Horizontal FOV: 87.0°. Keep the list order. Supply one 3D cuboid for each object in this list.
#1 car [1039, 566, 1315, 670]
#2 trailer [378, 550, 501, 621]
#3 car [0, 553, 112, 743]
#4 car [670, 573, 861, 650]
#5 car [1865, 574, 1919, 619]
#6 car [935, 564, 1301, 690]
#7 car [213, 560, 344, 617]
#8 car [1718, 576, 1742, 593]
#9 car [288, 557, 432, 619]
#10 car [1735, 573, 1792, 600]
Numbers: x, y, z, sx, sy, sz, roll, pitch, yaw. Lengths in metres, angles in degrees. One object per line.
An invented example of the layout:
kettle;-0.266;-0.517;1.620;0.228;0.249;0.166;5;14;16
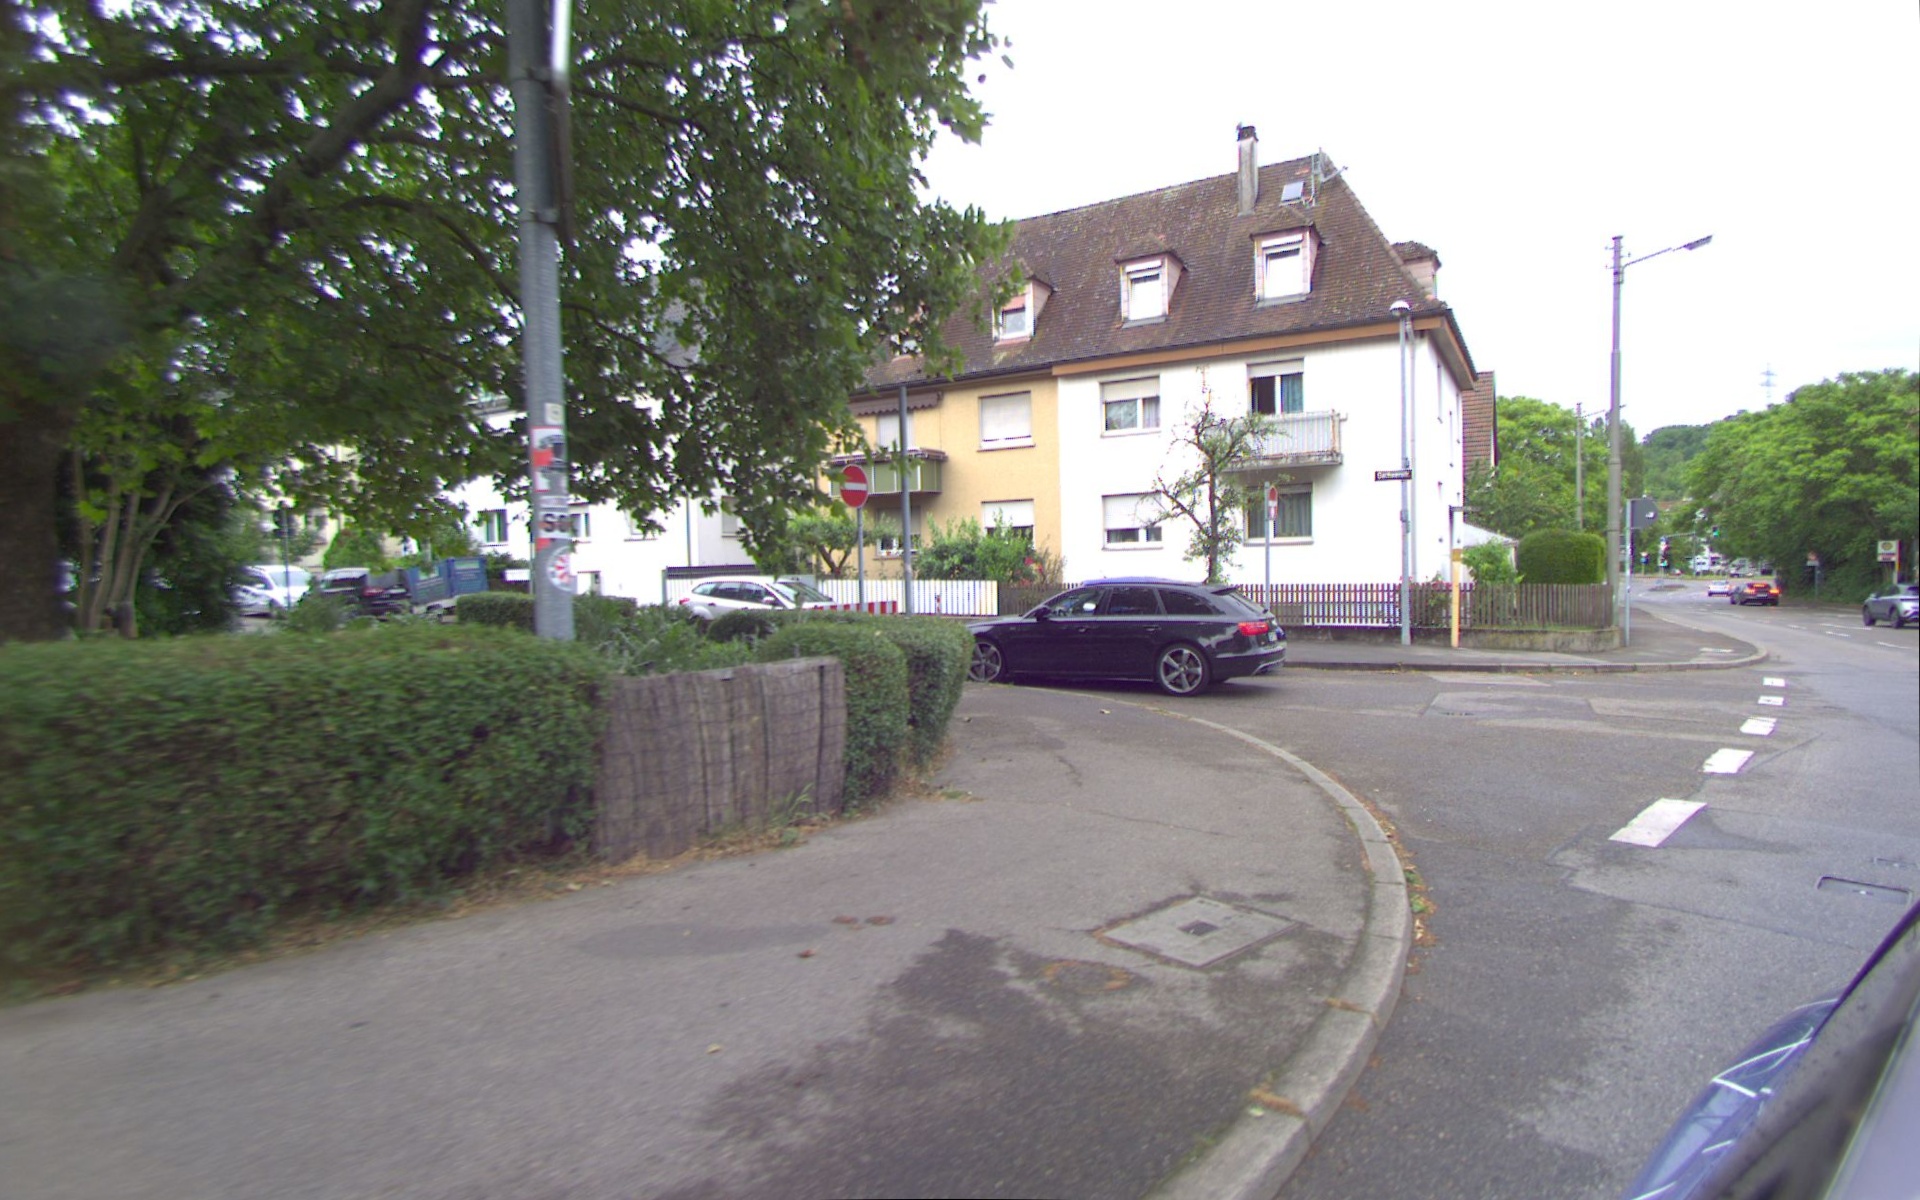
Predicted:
car;3.556;0.209;16.797;4.098;1.499;1.863;2;2;34
trailer;-15.718;-0.451;30.529;3.458;2.039;1.656;1;1;28
car;-9.771;0.375;9.576;3.976;1.600;1.799;1;1;36
car;-4.106;0.186;21.248;3.754;1.471;1.753;1;1;31
car;32.825;-0.143;34.481;1.882;1.480;3.965;1;2;26
car;2.174;0.278;14.229;4.771;1.499;1.869;1;1;27
car;-23.754;-0.434;35.264;4.538;1.862;1.980;1;1;29
car;72.102;-1.482;94.772;1.666;1.486;3.727;1;2;39
car;-19.254;-0.406;32.430;4.538;1.862;1.980;1;1;29
car;51.326;-0.874;64.738;1.982;1.460;4.729;3;4;28
